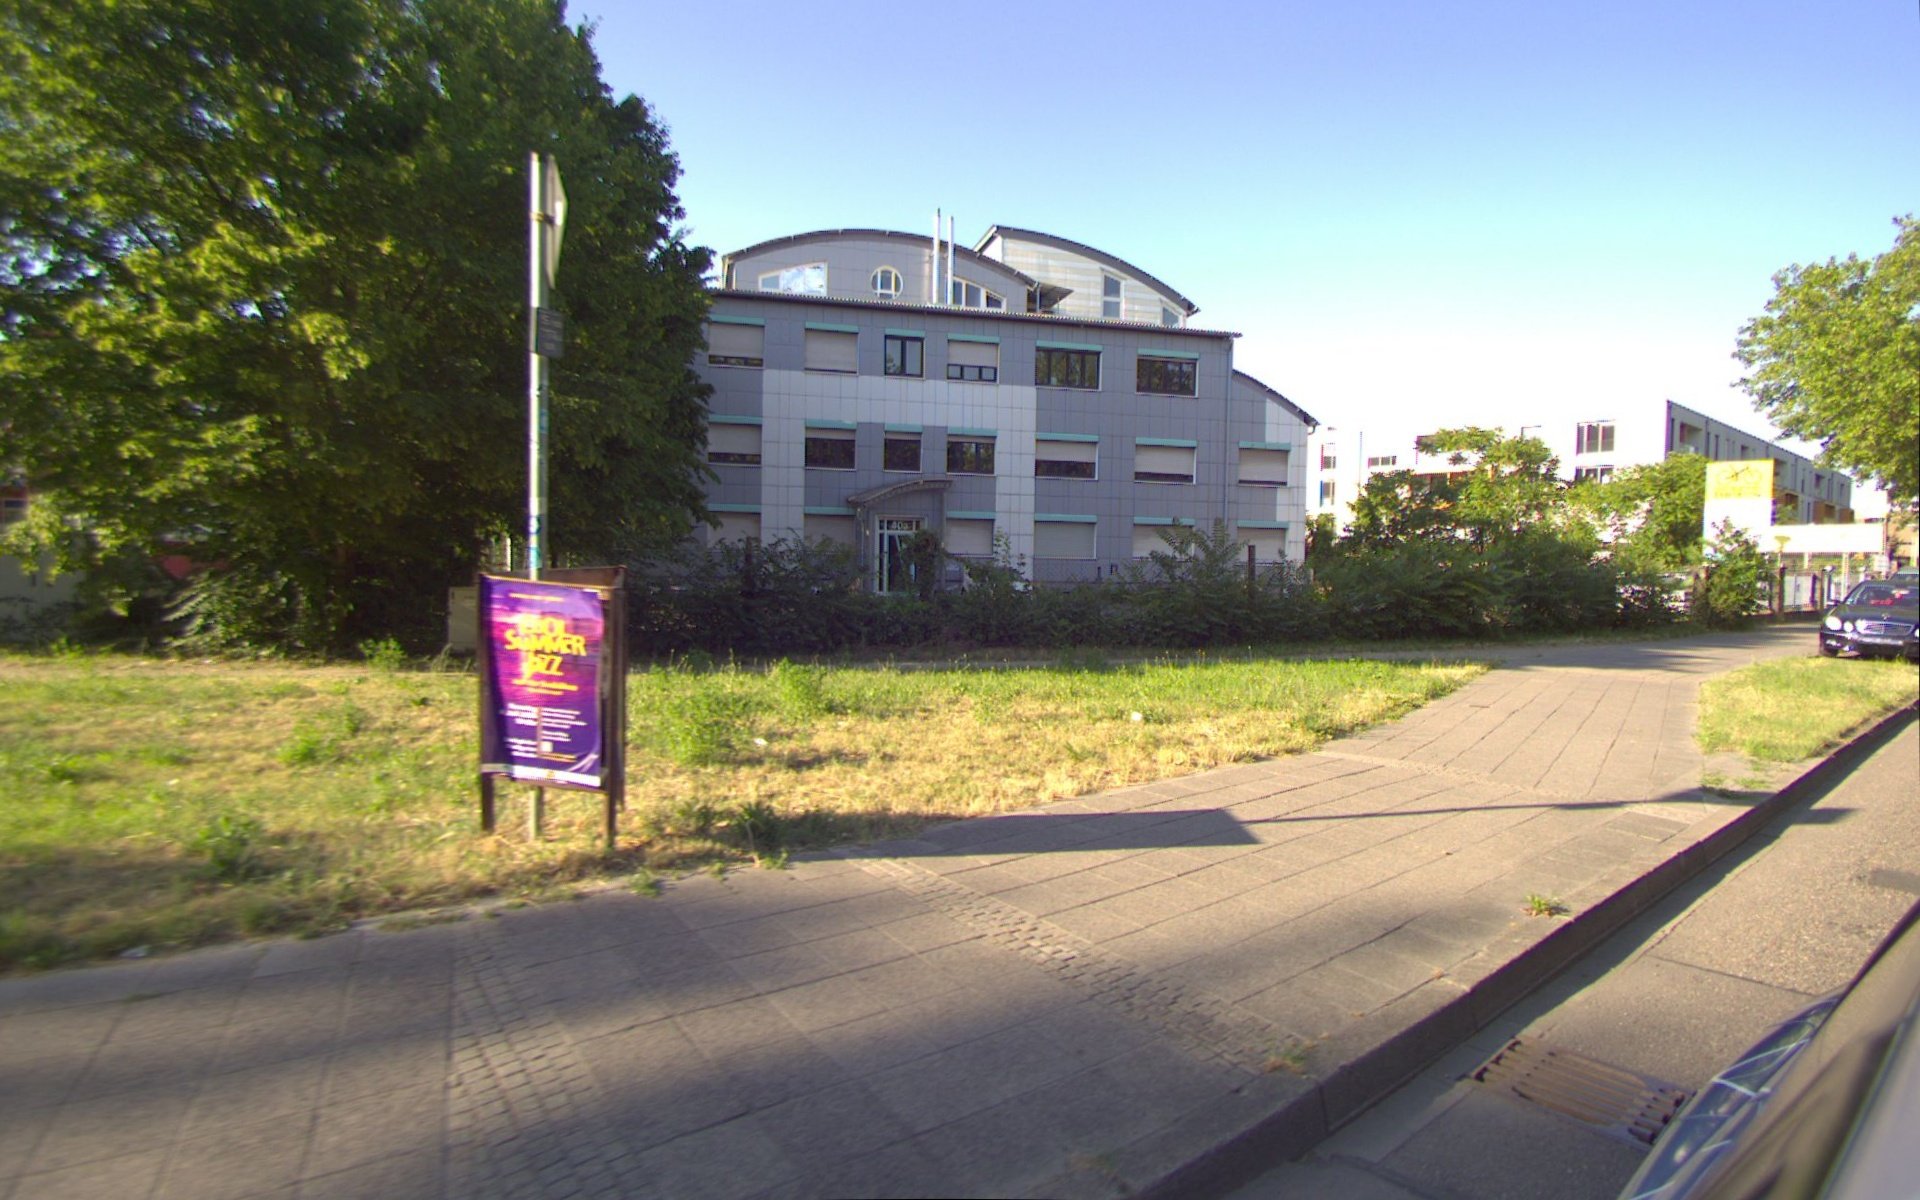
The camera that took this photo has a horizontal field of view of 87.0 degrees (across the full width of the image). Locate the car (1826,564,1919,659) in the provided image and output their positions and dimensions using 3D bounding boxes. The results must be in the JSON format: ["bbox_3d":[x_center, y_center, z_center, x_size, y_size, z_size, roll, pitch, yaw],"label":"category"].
[{"bbox_3d":[17.501,0.139,18.551,4.609,1.533,1.786,-2,4,-41],"label":"car"}]

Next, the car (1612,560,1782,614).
[{"bbox_3d":[23.076,-0.454,31.808,1.808,1.579,3.997,-1,2,-39],"label":"car"}]

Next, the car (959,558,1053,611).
[{"bbox_3d":[1.486,-0.570,34.225,1.869,1.593,4.011,-1,4,-18],"label":"car"}]

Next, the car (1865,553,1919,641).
[{"bbox_3d":[21.588,-0.098,22.168,4.832,1.780,1.998,-2,4,-41],"label":"car"}]
